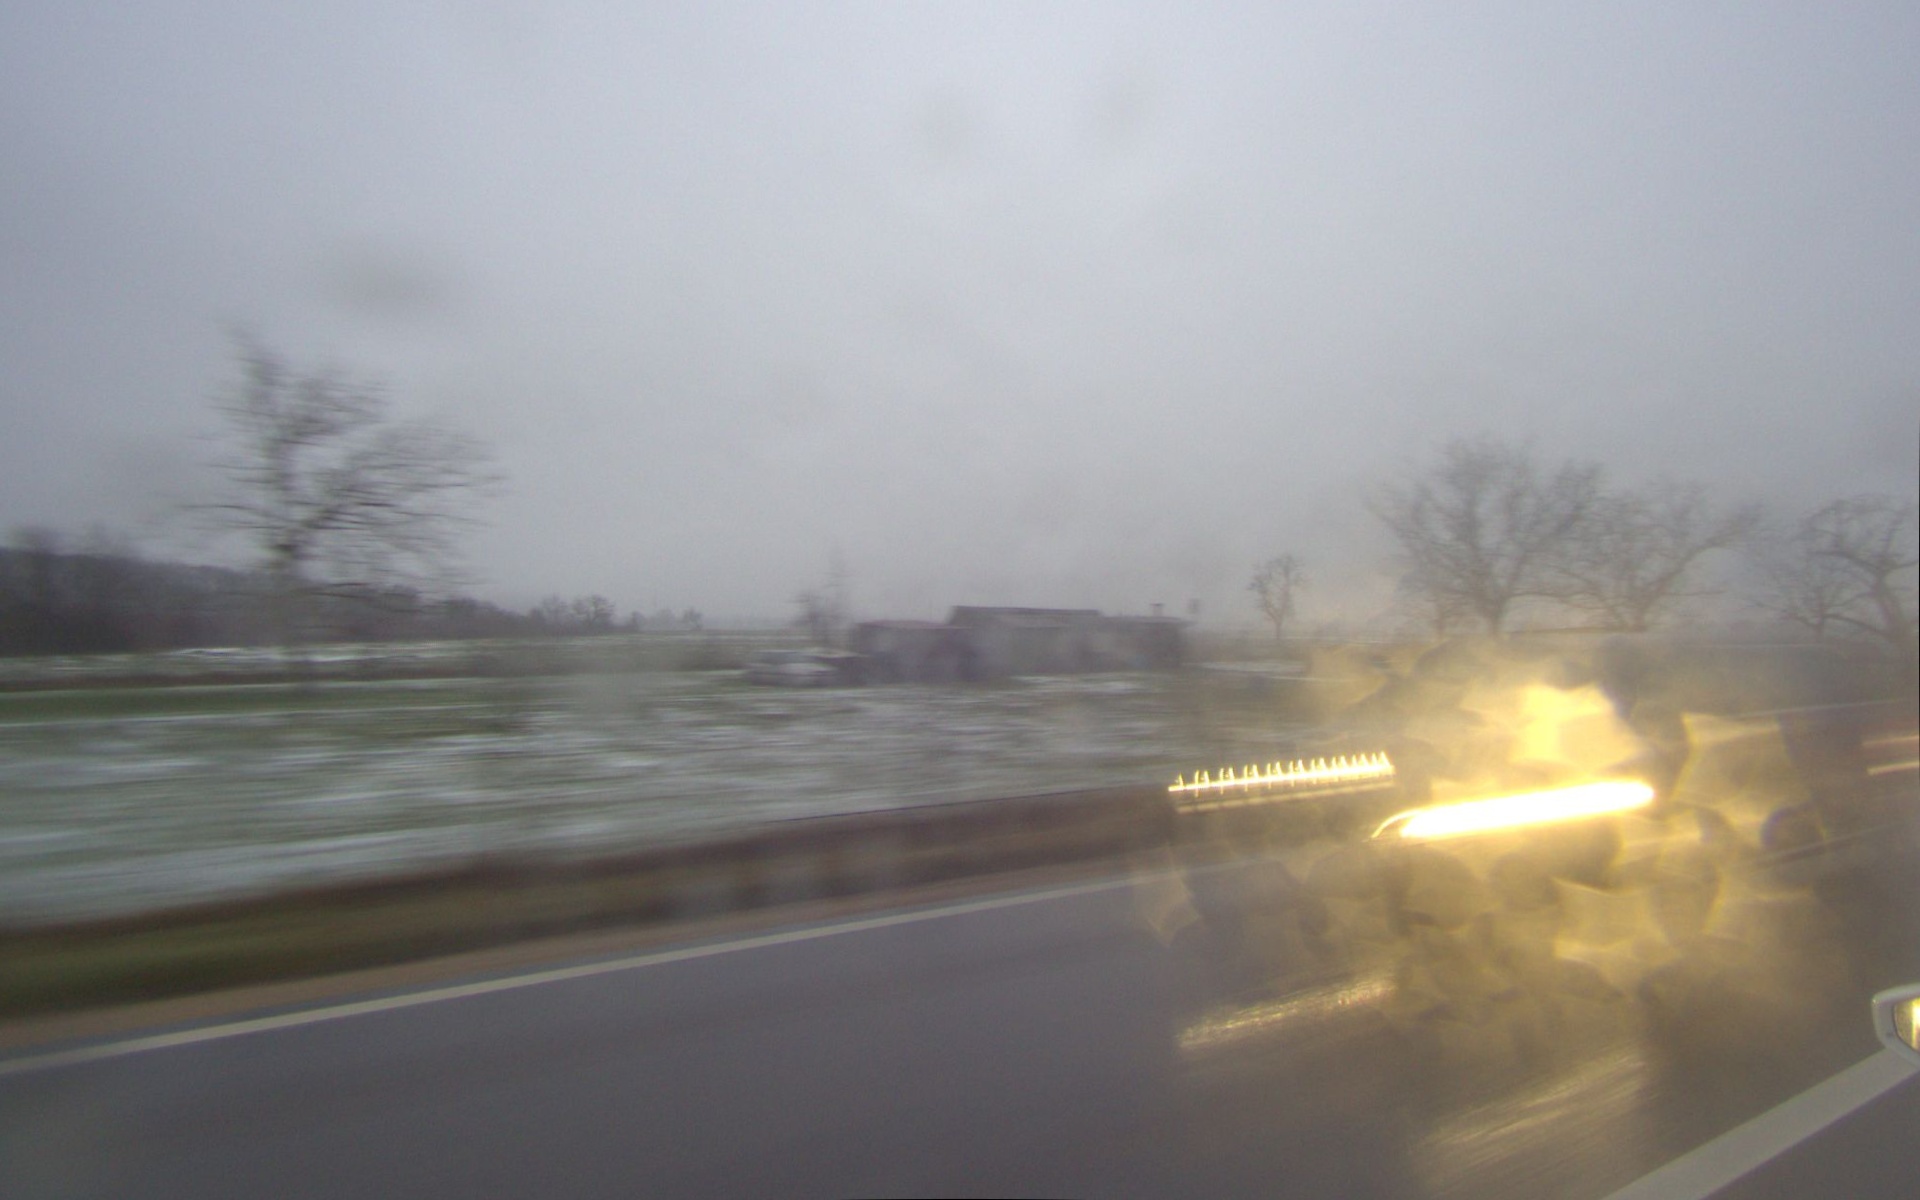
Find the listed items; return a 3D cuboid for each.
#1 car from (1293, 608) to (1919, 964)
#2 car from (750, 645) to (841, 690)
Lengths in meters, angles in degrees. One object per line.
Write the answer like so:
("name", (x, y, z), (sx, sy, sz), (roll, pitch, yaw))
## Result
("car", (4.339, 0.877, 6.358), (4.467, 1.537, 1.845), (1, -3, -33))
("car", (-5.984, 2.386, 36.281), (1.588, 1.360, 3.407), (1, 0, -43))
